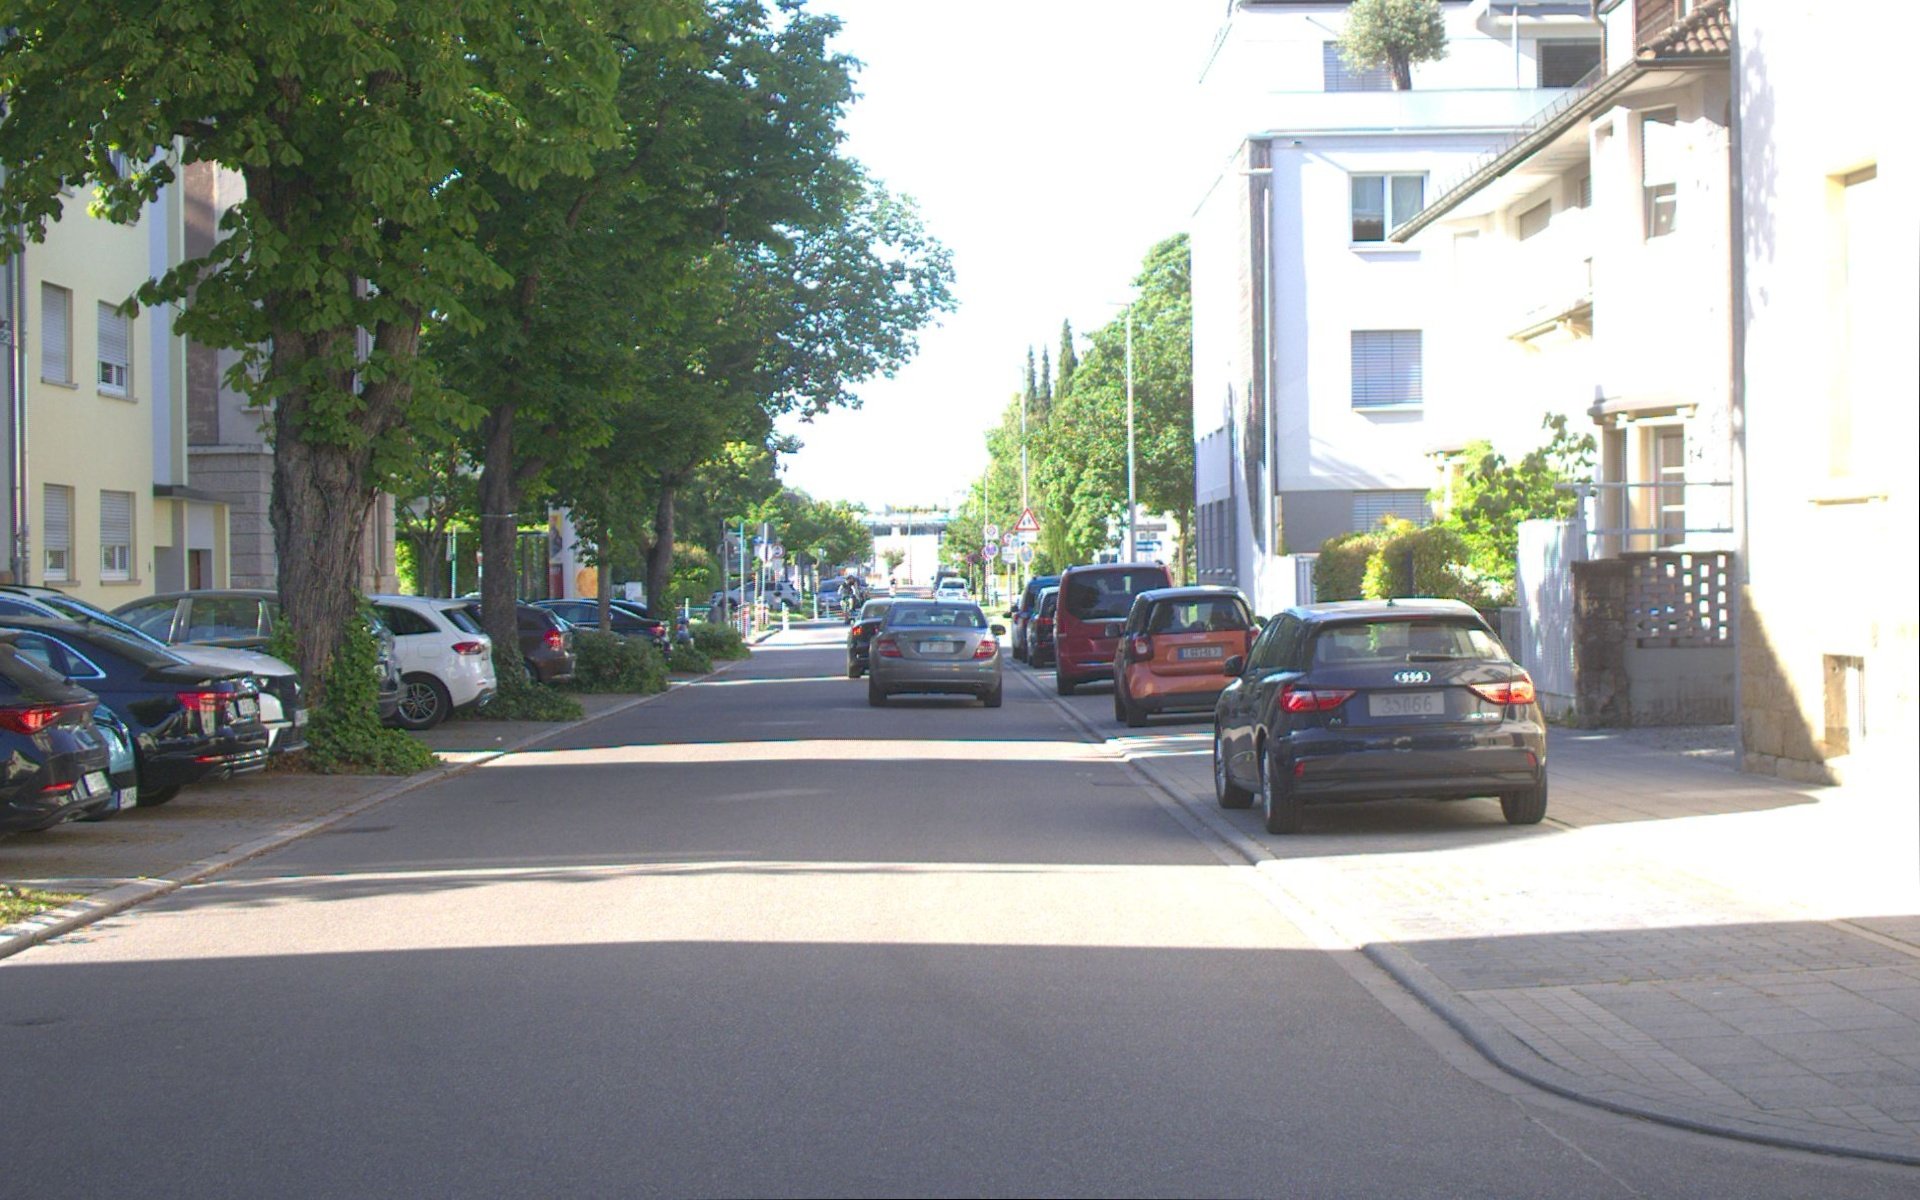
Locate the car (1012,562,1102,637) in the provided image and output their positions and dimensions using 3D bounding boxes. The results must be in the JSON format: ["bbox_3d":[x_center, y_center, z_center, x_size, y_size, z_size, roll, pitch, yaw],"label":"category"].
[{"bbox_3d":[2.065,0.000,74.135,1.682,1.430,4.266,-5,0,-1],"label":"car"}]

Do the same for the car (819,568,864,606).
[{"bbox_3d":[-5.556,-0.617,160.899,1.872,1.722,4.001,-1,1,-5],"label":"car"}]

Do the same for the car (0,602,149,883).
[{"bbox_3d":[-6.908,0.809,19.473,4.186,1.493,1.861,-1,1,-1],"label":"car"}]

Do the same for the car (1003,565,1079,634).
[{"bbox_3d":[1.818,0.006,78.346,1.564,1.406,3.729,-5,0,1],"label":"car"}]

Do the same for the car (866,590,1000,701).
[{"bbox_3d":[-0.337,0.604,46.622,1.726,1.415,3.960,1,0,0],"label":"car"}]

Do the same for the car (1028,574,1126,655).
[{"bbox_3d":[2.285,0.268,68.157,1.737,1.526,4.178,-1,0,-1],"label":"car"}]

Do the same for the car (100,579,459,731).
[{"bbox_3d":[-7.368,0.574,37.427,3.515,1.570,1.770,1,1,2],"label":"car"}]

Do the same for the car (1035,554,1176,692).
[{"bbox_3d":[2.132,0.328,51.626,1.871,1.898,5.197,-2,0,1],"label":"car"}]

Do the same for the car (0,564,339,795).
[{"bbox_3d":[-7.338,0.642,27.369,4.386,1.646,1.823,-2,2,1],"label":"car"}]

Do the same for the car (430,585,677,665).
[{"bbox_3d":[-7.617,0.473,64.663,4.473,1.474,1.869,0,0,-2],"label":"car"}]

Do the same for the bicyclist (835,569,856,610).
[{"bbox_3d":[-4.333,-0.391,130.136,0.721,1.531,1.137,-1,0,0],"label":"bicyclist"}]

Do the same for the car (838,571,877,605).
[{"bbox_3d":[-5.486,-0.635,183.770,1.787,1.527,4.000,-5,-1,-4],"label":"car"}]

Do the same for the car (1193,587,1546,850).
[{"bbox_3d":[2.582,0.703,22.523,1.619,1.435,3.935,-3,1,-2],"label":"car"}]

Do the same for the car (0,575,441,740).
[{"bbox_3d":[-7.409,0.555,34.654,3.987,1.570,1.980,1,1,2],"label":"car"}]

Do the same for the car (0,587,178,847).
[{"bbox_3d":[-7.263,0.757,22.240,3.986,1.587,1.878,-1,1,-2],"label":"car"}]

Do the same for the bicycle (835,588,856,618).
[{"bbox_3d":[-4.317,0.111,130.095,0.719,1.075,1.891,-1,0,0],"label":"bicycle"}]

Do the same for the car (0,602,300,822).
[{"bbox_3d":[-6.885,0.798,24.616,3.987,1.463,1.697,-1,1,-1],"label":"car"}]

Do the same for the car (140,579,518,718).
[{"bbox_3d":[-7.225,0.540,39.620,4.022,1.479,1.807,1,1,-1],"label":"car"}]

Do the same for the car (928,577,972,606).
[{"bbox_3d":[-0.471,-0.410,163.122,1.722,1.325,4.001,-1,0,-5],"label":"car"}]

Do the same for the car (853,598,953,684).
[{"bbox_3d":[-1.031,0.722,61.542,1.707,1.443,4.203,1,0,-1],"label":"car"}]

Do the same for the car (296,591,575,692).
[{"bbox_3d":[-7.915,0.617,52.105,3.986,1.417,1.771,0,2,-1],"label":"car"}]

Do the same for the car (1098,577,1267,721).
[{"bbox_3d":[2.492,0.521,39.057,1.592,1.475,3.247,-3,1,-1],"label":"car"}]

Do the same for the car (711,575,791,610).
[{"bbox_3d":[-9.454,-0.331,155.423,3.493,1.528,1.645,-1,0,-7],"label":"car"}]
